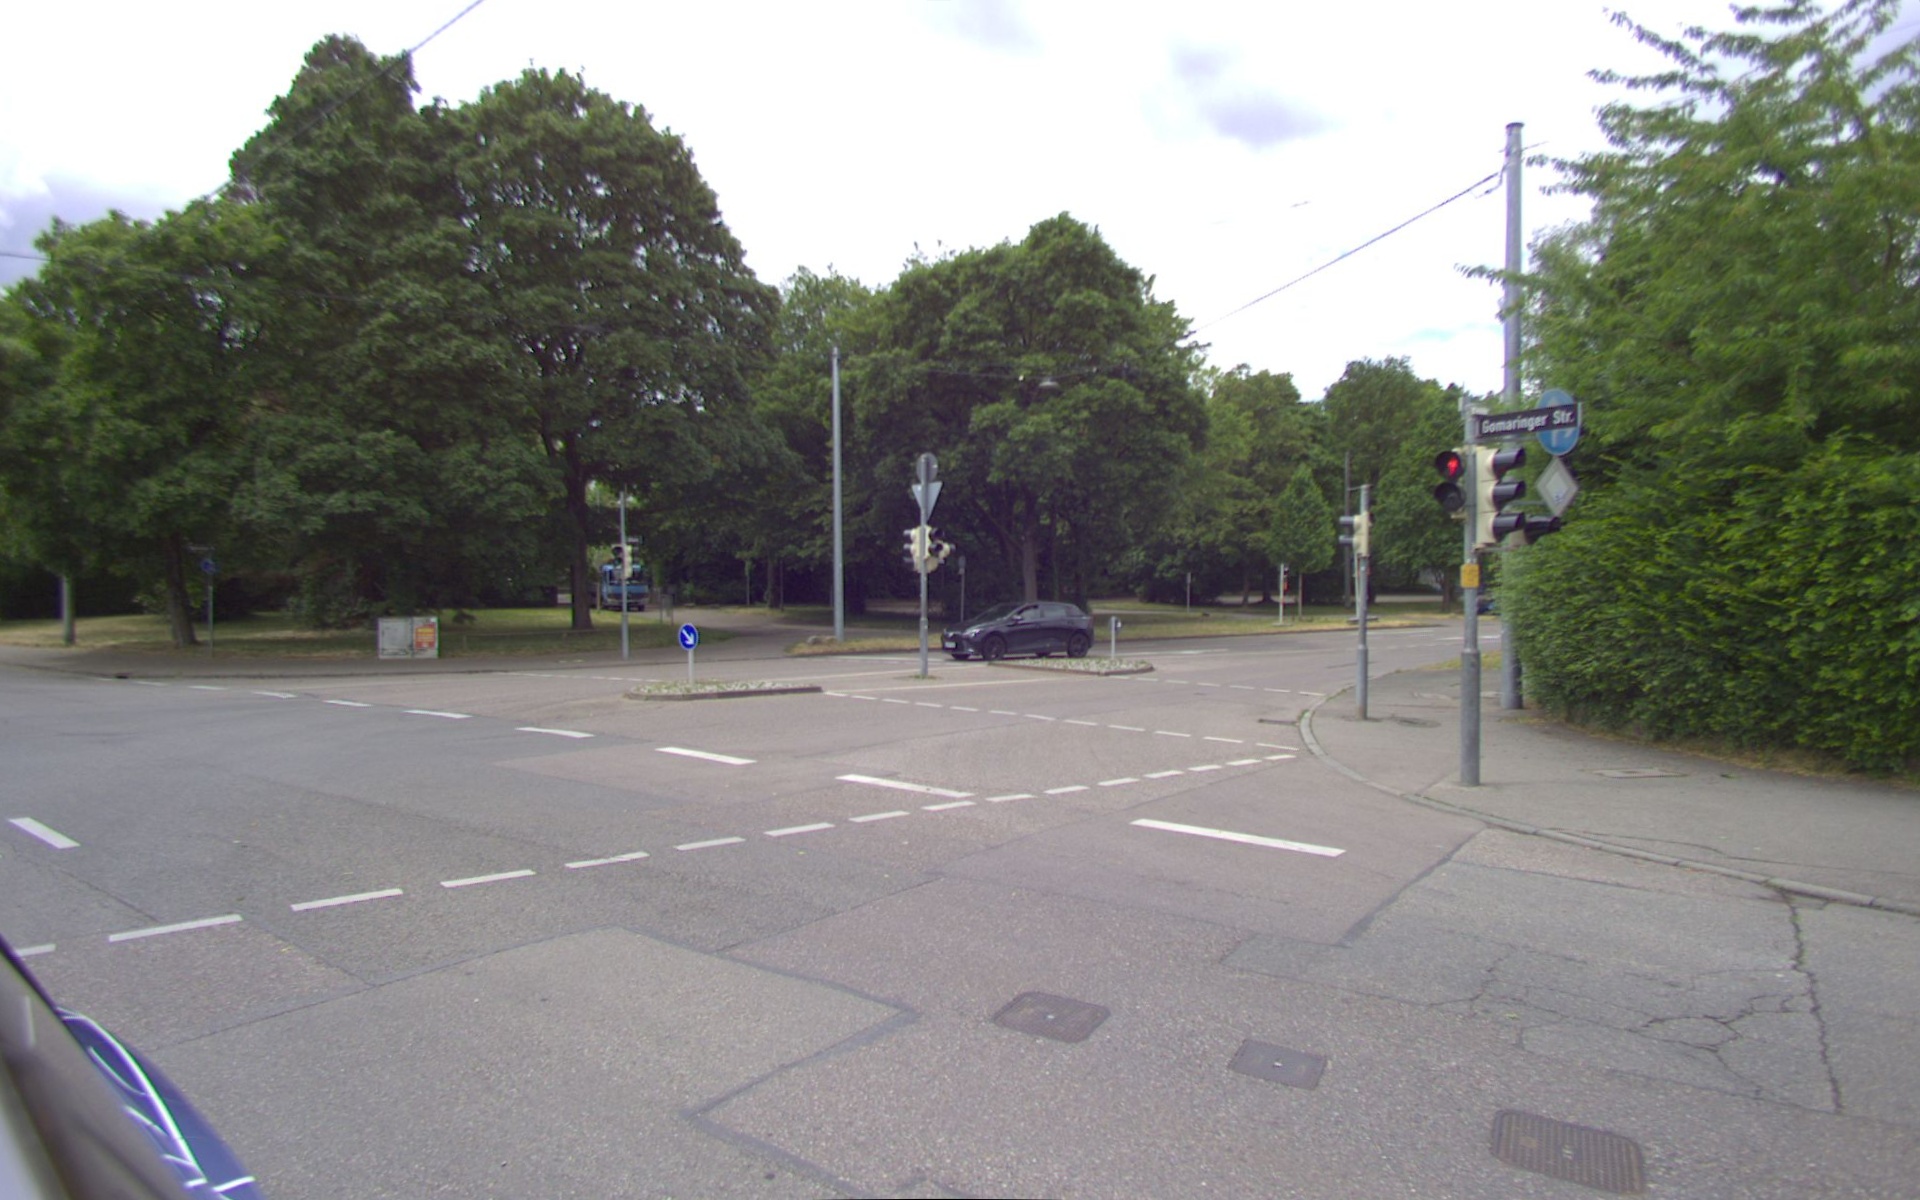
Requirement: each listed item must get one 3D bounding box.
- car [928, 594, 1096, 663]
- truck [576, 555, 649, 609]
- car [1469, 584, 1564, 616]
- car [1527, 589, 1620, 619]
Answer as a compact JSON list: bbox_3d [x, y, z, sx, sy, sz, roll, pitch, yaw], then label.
[{"bbox_3d":[1.365,0.678,26.400,3.932,1.630,2.006,-1,1,-31],"label":"car"},{"bbox_3d":[-19.683,-0.989,57.096,2.440,2.868,7.455,-1,1,-31],"label":"truck"},{"bbox_3d":[28.157,0.007,51.231,3.995,1.497,1.894,0,2,38],"label":"car"},{"bbox_3d":[32.693,0.171,54.010,3.998,1.497,1.893,1,2,41],"label":"car"}]
